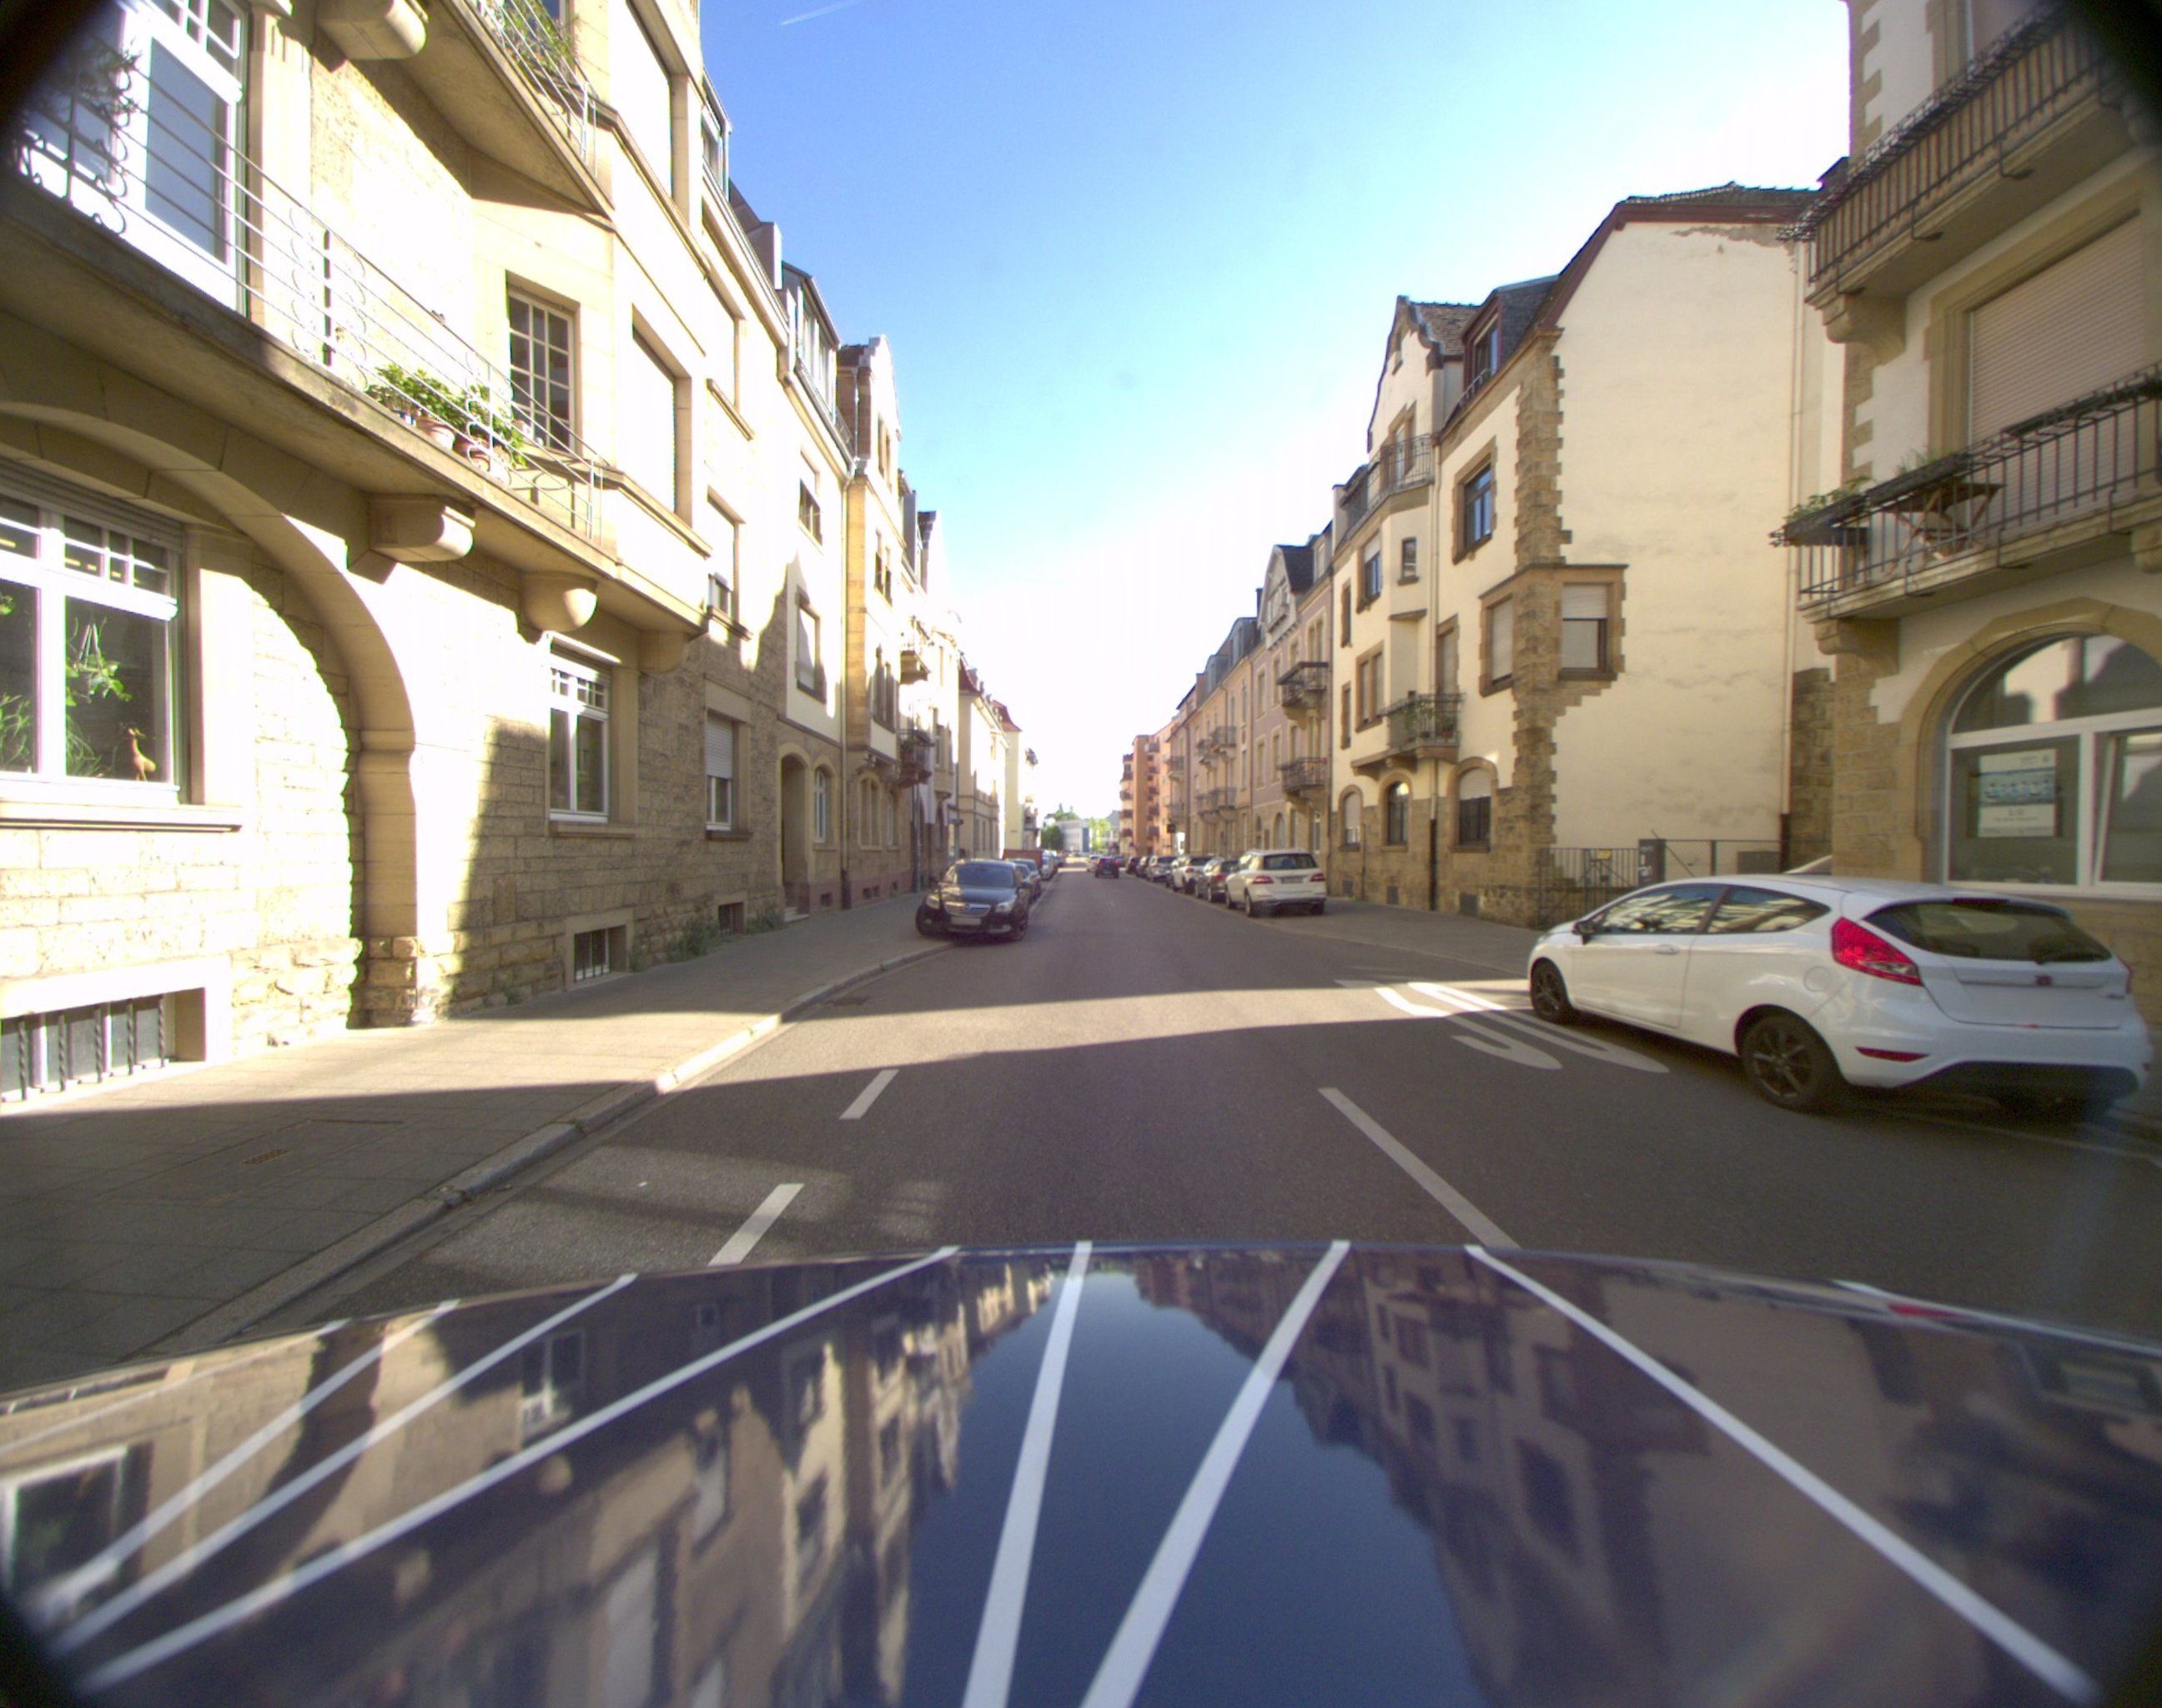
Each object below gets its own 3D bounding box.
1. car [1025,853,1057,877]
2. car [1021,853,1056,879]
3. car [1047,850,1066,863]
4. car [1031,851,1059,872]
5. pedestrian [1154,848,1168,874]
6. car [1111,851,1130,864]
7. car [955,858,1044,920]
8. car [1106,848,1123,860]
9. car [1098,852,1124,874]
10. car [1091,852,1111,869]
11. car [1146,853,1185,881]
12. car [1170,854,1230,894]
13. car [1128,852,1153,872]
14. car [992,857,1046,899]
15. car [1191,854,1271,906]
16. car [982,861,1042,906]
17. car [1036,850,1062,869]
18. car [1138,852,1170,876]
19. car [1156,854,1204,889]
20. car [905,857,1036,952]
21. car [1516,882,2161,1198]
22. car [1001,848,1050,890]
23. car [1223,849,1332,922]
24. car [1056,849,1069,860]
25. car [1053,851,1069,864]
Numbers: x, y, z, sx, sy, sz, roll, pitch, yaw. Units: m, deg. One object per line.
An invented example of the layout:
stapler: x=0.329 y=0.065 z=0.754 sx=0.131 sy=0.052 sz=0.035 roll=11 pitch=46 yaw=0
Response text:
car: x=-2.746 y=0.743 z=52.643 sx=2.005 sy=1.500 sz=4.320 roll=1 pitch=1 yaw=-1
car: x=-2.651 y=0.723 z=47.870 sx=2.005 sy=1.500 sz=4.320 roll=1 pitch=1 yaw=-1
car: x=-2.842 y=0.274 z=88.981 sx=2.005 sy=1.500 sz=4.320 roll=1 pitch=1 yaw=-1
car: x=-2.743 y=0.542 z=58.668 sx=2.005 sy=1.500 sz=4.320 roll=1 pitch=1 yaw=-1
pedestrian: x=6.443 y=0.548 z=61.190 sx=0.952 sy=2.002 sz=1.066 roll=-2 pitch=1 yaw=0
car: x=4.675 y=0.416 z=91.394 sx=2.005 sy=1.500 sz=4.320 roll=1 pitch=1 yaw=-1
car: x=-2.095 y=0.879 z=20.802 sx=2.005 sy=1.499 sz=4.321 roll=1 pitch=0 yaw=-1
car: x=4.519 y=0.011 z=101.960 sx=2.005 sy=1.500 sz=4.320 roll=1 pitch=1 yaw=-1
car: x=2.048 y=0.626 z=53.234 sx=1.656 sy=1.449 sz=3.642 roll=0 pitch=1 yaw=-1
car: x=1.791 y=0.556 z=66.955 sx=1.702 sy=1.475 sz=3.534 roll=0 pitch=0 yaw=2
car: x=5.023 y=0.739 z=45.835 sx=1.890 sy=1.500 sz=4.320 roll=-2 pitch=1 yaw=1
car: x=4.986 y=0.800 z=32.368 sx=1.890 sy=1.500 sz=4.320 roll=-2 pitch=1 yaw=1
car: x=4.895 y=0.648 z=62.975 sx=1.793 sy=1.500 sz=4.320 roll=-2 pitch=1 yaw=1
car: x=-2.383 y=0.896 z=30.123 sx=1.824 sy=1.415 sz=4.320 roll=1 pitch=1 yaw=-1
car: x=5.125 y=0.826 z=26.547 sx=1.890 sy=1.500 sz=4.320 roll=-4 pitch=1 yaw=1
car: x=-2.232 y=0.931 z=25.380 sx=1.661 sy=1.272 sz=3.729 roll=1 pitch=1 yaw=-1
car: x=-2.670 y=0.459 z=64.501 sx=2.005 sy=1.500 sz=4.320 roll=1 pitch=1 yaw=-1
car: x=4.994 y=0.674 z=52.353 sx=1.809 sy=1.500 sz=4.003 roll=-2 pitch=1 yaw=1
car: x=4.857 y=0.822 z=37.809 sx=1.857 sy=1.491 sz=4.318 roll=-2 pitch=1 yaw=1
car: x=-2.035 y=0.886 z=15.217 sx=2.024 sy=1.500 sz=4.111 roll=2 pitch=1 yaw=-1
car: x=5.113 y=1.019 z=5.694 sx=1.656 sy=1.449 sz=3.643 roll=2 pitch=0 yaw=2
car: x=-2.558 y=0.656 z=35.812 sx=2.005 sy=1.828 sz=4.320 roll=1 pitch=1 yaw=-1
car: x=5.197 y=0.757 z=20.677 sx=1.890 sy=1.717 sz=4.211 roll=-2 pitch=1 yaw=1
car: x=-2.939 y=0.078 z=123.338 sx=2.005 sy=1.722 sz=4.320 roll=1 pitch=1 yaw=-1
car: x=-2.581 y=0.439 z=99.955 sx=2.005 sy=1.500 sz=4.320 roll=1 pitch=1 yaw=-1
